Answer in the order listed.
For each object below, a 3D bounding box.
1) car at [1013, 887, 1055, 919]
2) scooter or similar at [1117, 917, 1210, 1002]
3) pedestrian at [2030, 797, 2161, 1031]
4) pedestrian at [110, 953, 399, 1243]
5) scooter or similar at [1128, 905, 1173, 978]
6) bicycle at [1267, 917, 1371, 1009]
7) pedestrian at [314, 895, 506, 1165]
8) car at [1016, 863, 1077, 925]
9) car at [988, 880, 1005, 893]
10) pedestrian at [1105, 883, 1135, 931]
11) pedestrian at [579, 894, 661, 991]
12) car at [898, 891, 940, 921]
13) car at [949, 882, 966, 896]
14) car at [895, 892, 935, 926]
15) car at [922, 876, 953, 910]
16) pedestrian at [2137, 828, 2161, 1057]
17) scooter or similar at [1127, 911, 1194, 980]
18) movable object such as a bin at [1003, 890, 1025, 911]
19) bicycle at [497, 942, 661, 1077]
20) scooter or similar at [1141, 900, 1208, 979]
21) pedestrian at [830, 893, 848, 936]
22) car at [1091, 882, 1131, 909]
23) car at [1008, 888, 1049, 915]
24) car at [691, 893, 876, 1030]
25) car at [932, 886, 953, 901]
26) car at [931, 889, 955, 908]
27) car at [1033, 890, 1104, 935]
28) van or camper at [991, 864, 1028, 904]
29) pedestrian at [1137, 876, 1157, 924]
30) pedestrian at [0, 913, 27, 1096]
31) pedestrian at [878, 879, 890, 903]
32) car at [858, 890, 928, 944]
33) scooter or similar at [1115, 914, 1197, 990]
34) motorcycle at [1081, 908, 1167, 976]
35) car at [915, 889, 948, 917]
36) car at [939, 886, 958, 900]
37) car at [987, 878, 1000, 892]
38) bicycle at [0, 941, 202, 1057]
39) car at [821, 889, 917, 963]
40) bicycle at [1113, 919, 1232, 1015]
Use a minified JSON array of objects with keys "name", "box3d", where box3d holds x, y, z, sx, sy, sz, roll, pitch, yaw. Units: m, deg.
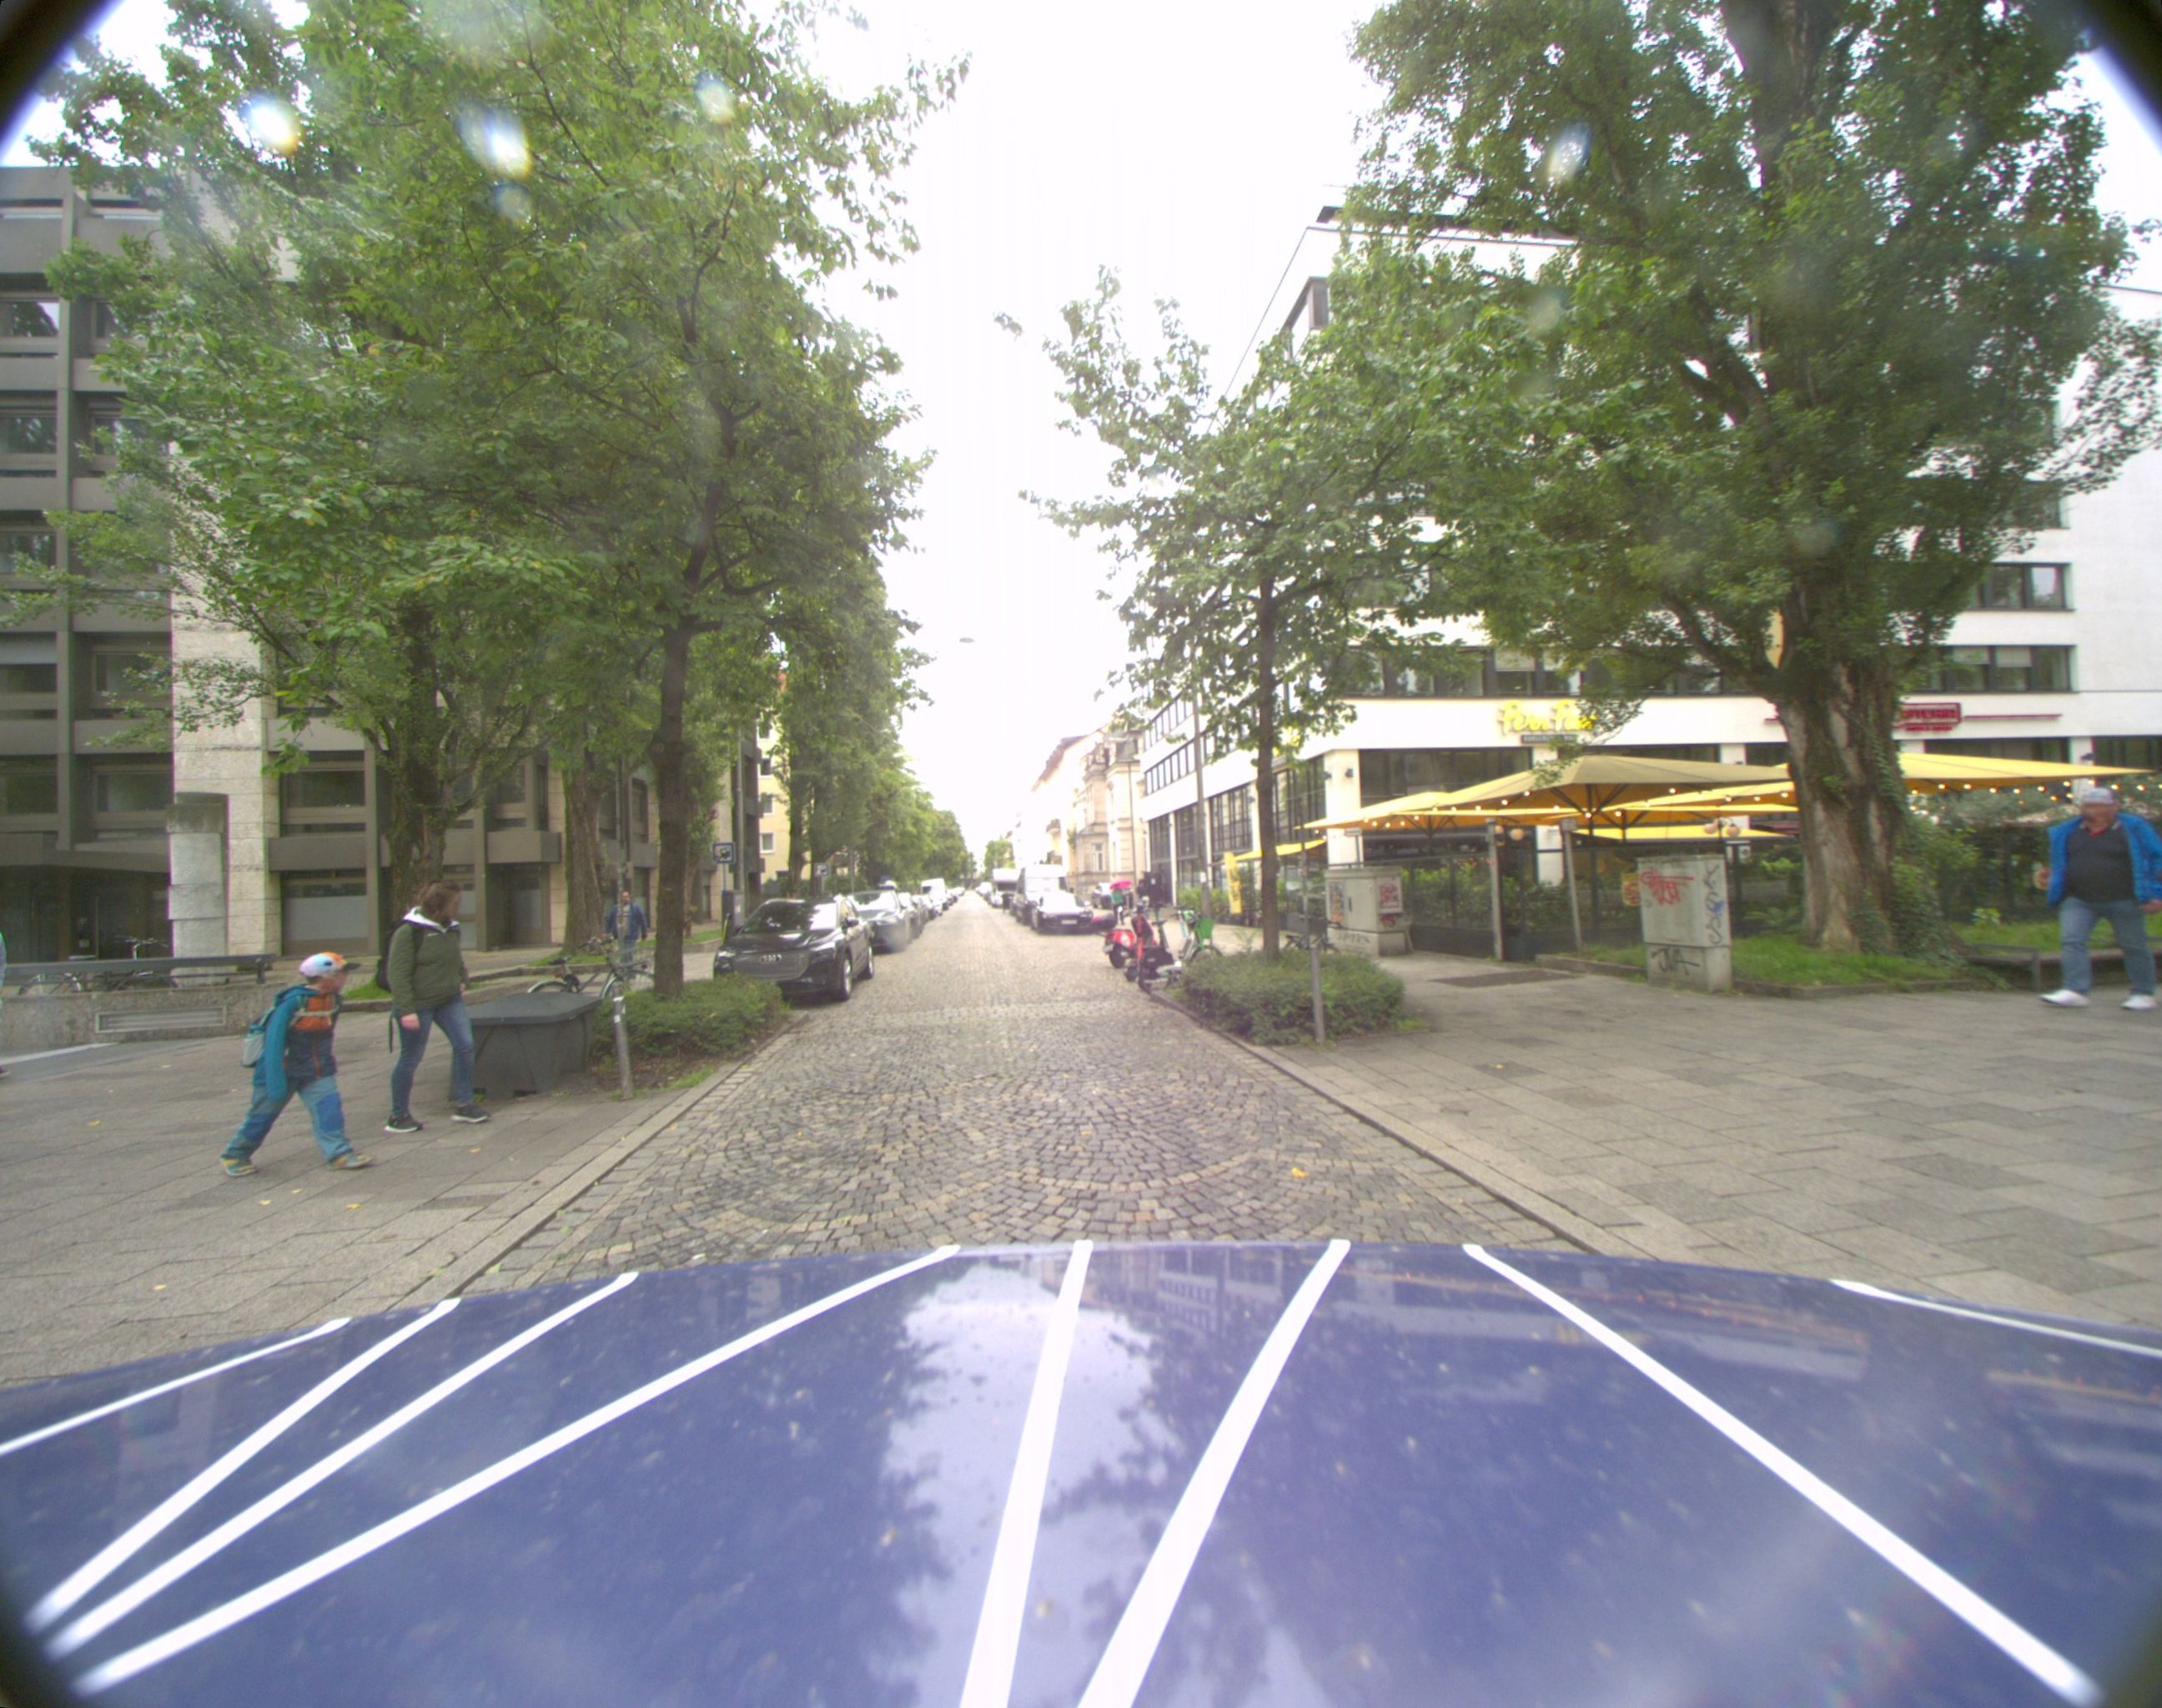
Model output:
[{"name":"car","box3d":[-2.465,2.482,39.246,1.999,1.421,3.999,-2,-2,-6]},{"name":"scooter or similar","box3d":[1.271,1.587,11.608,1.432,1.137,0.369,-1,-1,-31]},{"name":"pedestrian","box3d":[8.859,0.493,6.541,0.646,1.896,0.702,-2,-1,-31]},{"name":"pedestrian","box3d":[-4.731,1.335,4.407,0.770,1.411,0.819,-2,-1,8]},{"name":"scooter or similar","box3d":[1.313,1.612,14.268,0.327,1.265,1.360,-3,-2,26]},{"name":"bicycle","box3d":[3.129,1.400,10.175,0.554,1.016,1.762,-2,-2,-9]},{"name":"pedestrian","box3d":[-4.551,1.145,5.192,0.689,1.690,0.664,-3,-1,8]},{"name":"car","box3d":[-1.643,1.706,33.620,2.066,2.475,5.846,-1,-2,-8]},{"name":"car","box3d":[-12.190,4.690,109.236,2.000,1.679,3.871,-4,-1,-11]},{"name":"pedestrian","box3d":[1.445,1.968,28.410,0.929,1.695,0.800,-2,-1,-5]},{"name":"pedestrian","box3d":[-8.601,1.639,14.208,0.867,1.703,0.913,-3,-1,12]},{"name":"car","box3d":[-9.089,2.896,42.806,2.000,1.379,3.872,-4,-1,-9]},{"name":"car","box3d":[-16.011,4.535,98.296,2.000,1.679,3.871,-4,-1,-11]},{"name":"car","box3d":[-8.290,2.716,38.225,1.606,1.422,3.561,-4,-1,-9]},{"name":"car","box3d":[-11.363,3.047,60.438,2.089,2.418,5.608,-4,-1,-10]},{"name":"pedestrian","box3d":[8.518,0.648,5.624,0.646,1.717,0.702,-2,-1,-31]},{"name":"scooter or similar","box3d":[1.438,1.633,13.849,0.391,1.172,1.248,-2,-2,-39]},{"name":"movable object such as a bin","box3d":[-4.359,2.991,49.439,1.256,1.290,1.173,-2,-1,-12]},{"name":"bicycle","box3d":[-5.383,1.615,8.300,0.475,1.129,1.877,-2,-1,1]},{"name":"scooter or similar","box3d":[1.645,1.470,13.292,1.253,1.265,0.327,-1,-2,-38]},{"name":"pedestrian","box3d":[-9.391,2.338,29.469,0.490,1.618,0.568,-3,-1,-5]},{"name":"car","box3d":[1.816,2.528,47.546,1.913,1.523,4.169,-2,-2,-6]},{"name":"car","box3d":[-3.118,2.727,44.353,2.000,1.380,3.998,-2,-2,-8]},{"name":"car","box3d":[-4.653,1.571,12.583,1.927,1.690,4.199,-3,-1,-9]},{"name":"car","box3d":[-14.384,4.069,78.857,2.000,1.379,3.871,-4,-1,-11]},{"name":"car","box3d":[-12.160,3.904,66.960,2.000,1.379,3.871,-4,-1,-11]},{"name":"car","box3d":[-0.531,1.966,26.416,2.000,1.322,4.115,-2,-2,-7]},{"name":"van or camper","box3d":[-6.059,2.511,63.421,2.465,3.028,7.314,-2,-2,-9]},{"name":"pedestrian","box3d":[2.435,1.692,28.094,0.575,1.737,0.651,-2,-1,-2]},{"name":"pedestrian","box3d":[-10.617,1.443,7.195,0.668,1.714,0.714,-3,-1,35]},{"name":"pedestrian","box3d":[-12.914,2.406,49.725,0.646,1.528,0.708,-2,-1,-11]},{"name":"car","box3d":[-6.561,2.162,26.981,2.000,1.573,4.340,-3,-2,-9]},{"name":"scooter or similar","box3d":[1.234,1.600,12.493,1.251,1.137,0.327,-2,-1,-7]},{"name":"motorcycle","box3d":[0.875,1.679,14.895,0.769,1.188,1.996,-2,-3,34]},{"name":"car","box3d":[-9.448,3.077,48.127,1.869,1.490,3.871,-4,-1,-11]},{"name":"car","box3d":[-15.249,4.477,87.506,2.000,1.379,3.871,-2,-2,-11]},{"name":"car","box3d":[-17.078,5.999,147.539,2.089,2.417,5.608,-2,-2,-10]},{"name":"bicycle","box3d":[-12.665,1.825,9.699,1.869,1.269,0.721,-2,-1,-6]},{"name":"car","box3d":[-5.852,1.912,21.524,2.019,1.690,4.671,-3,-1,-9]},{"name":"bicycle","box3d":[1.331,1.559,10.809,1.766,1.136,0.552,-1,-2,-38]}]
